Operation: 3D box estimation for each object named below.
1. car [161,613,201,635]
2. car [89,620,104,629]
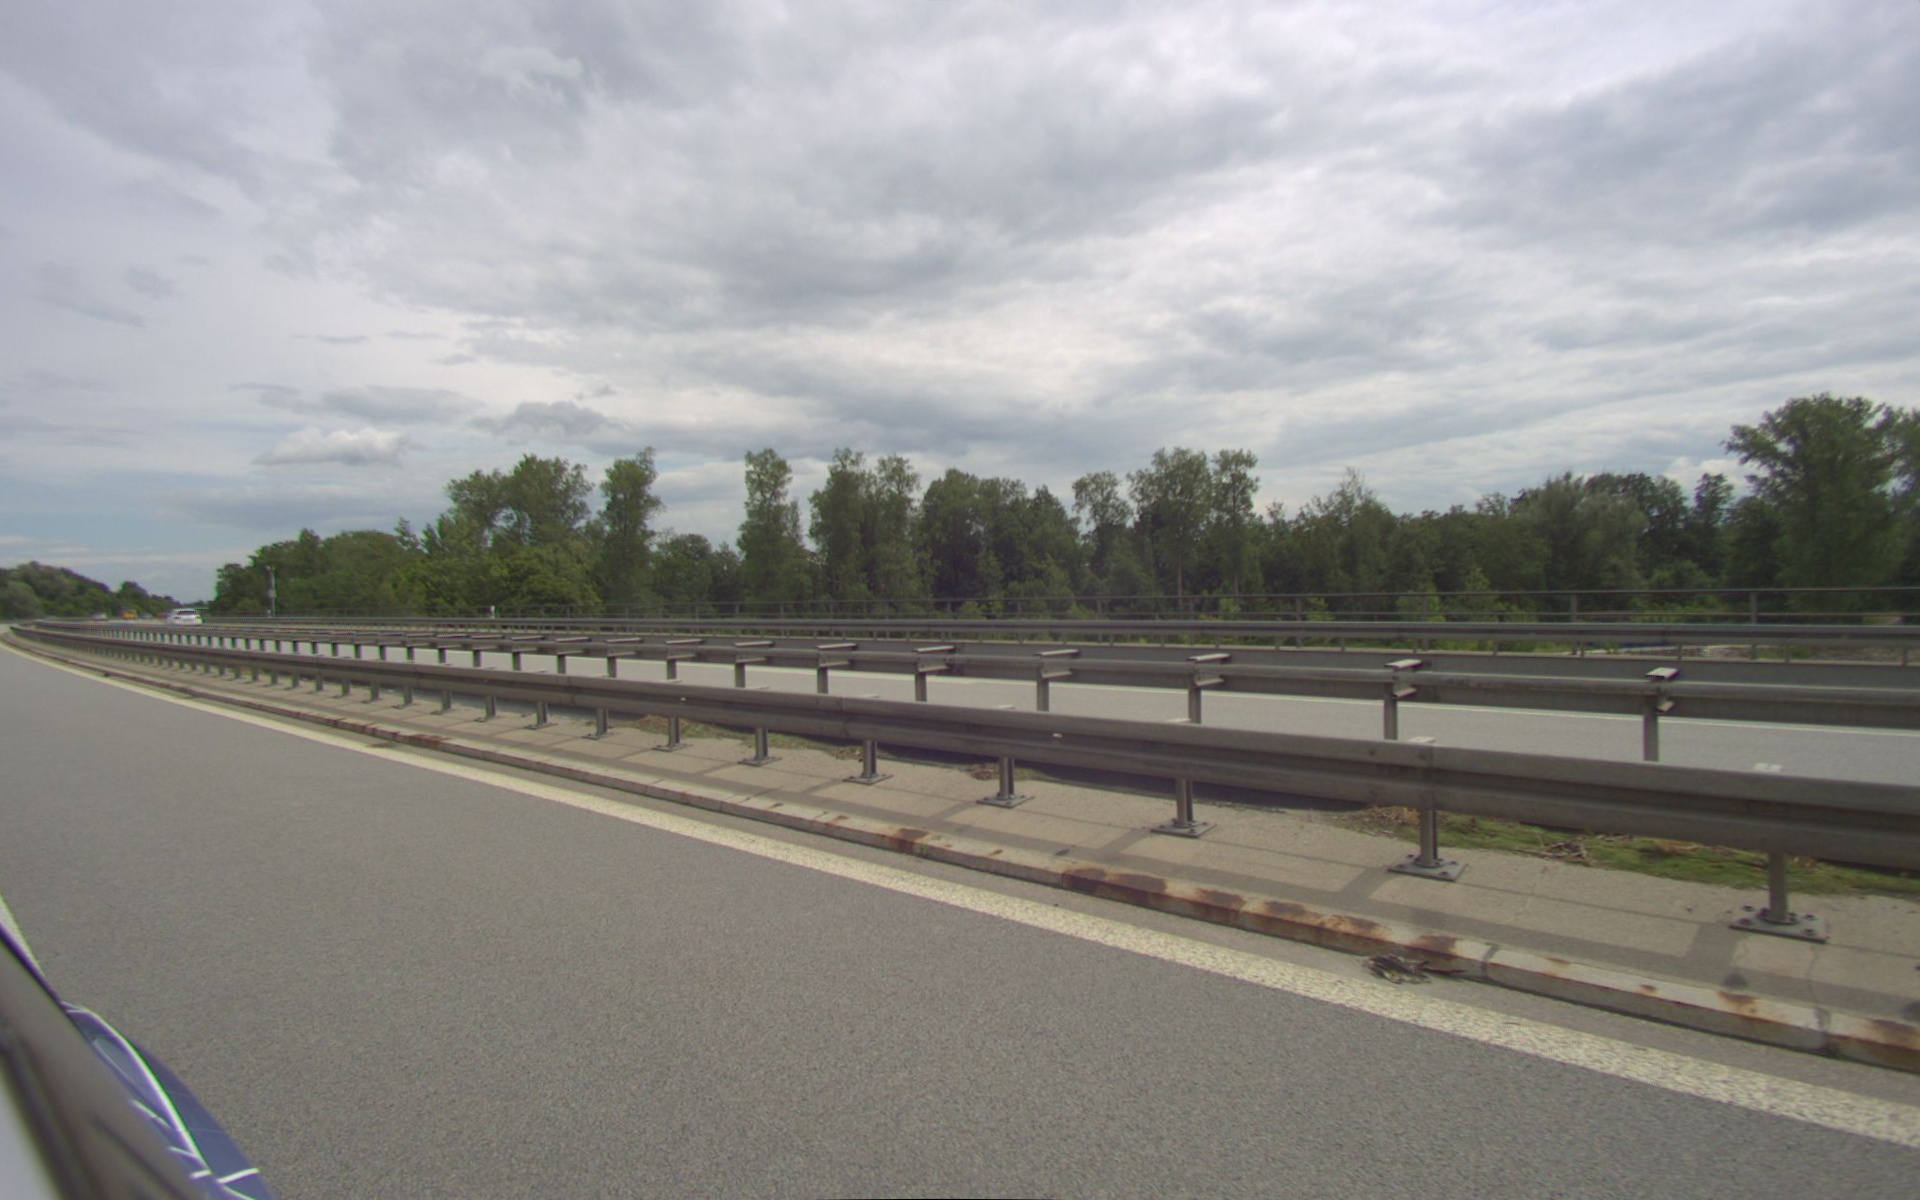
[{"bbox_3d":[-53.648,1.668,69.650,4.328,1.417,1.514,-1,0,43],"label":"car"},{"bbox_3d":[-151.280,4.312,177.336,1.751,1.397,4.392,-1,-1,-43],"label":"car"}]
